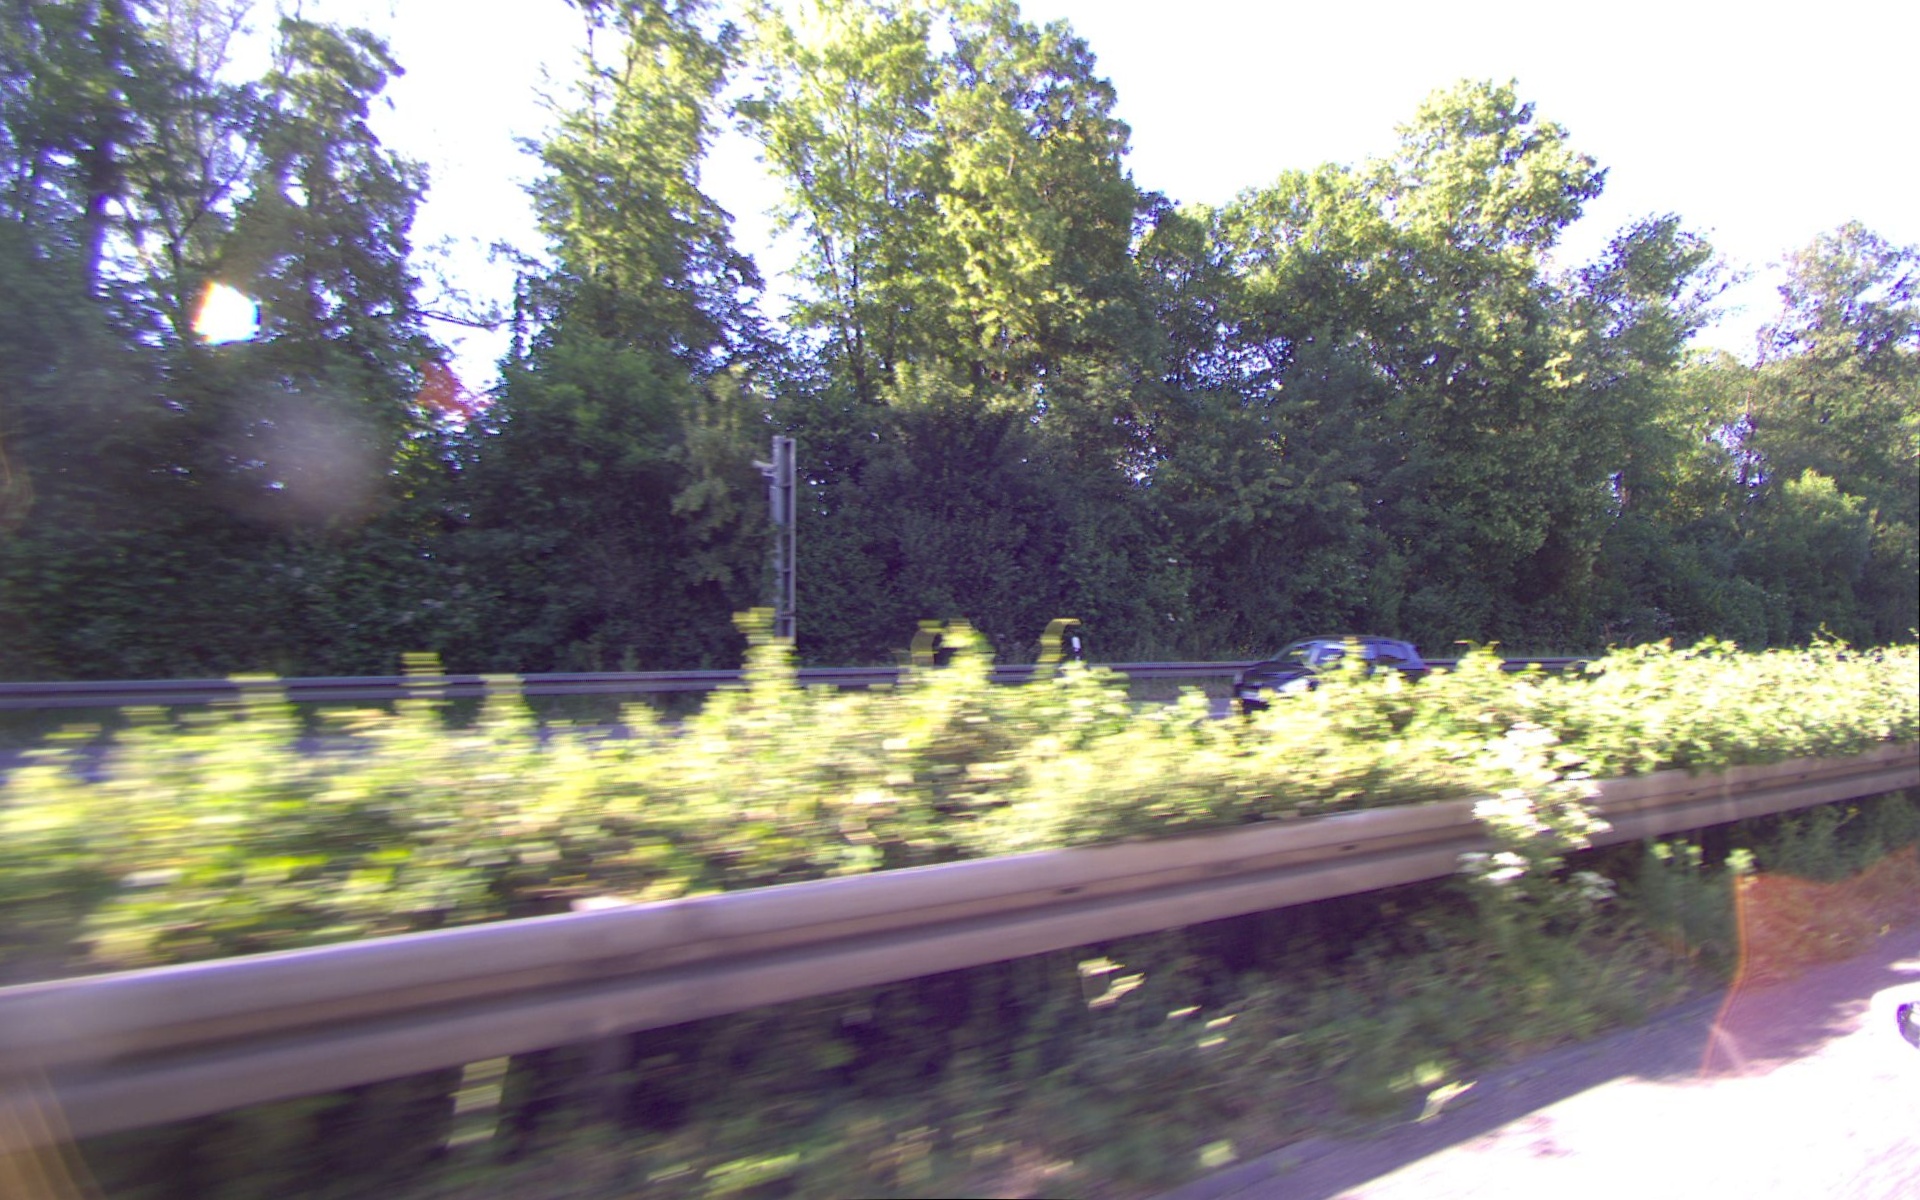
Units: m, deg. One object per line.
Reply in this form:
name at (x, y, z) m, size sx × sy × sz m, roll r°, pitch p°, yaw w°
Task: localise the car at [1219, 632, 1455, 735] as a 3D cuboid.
car at (6.384, 1.340, 16.958) m, size 3.748 × 1.492 × 1.755 m, roll 2°, pitch 0°, yaw -30°
